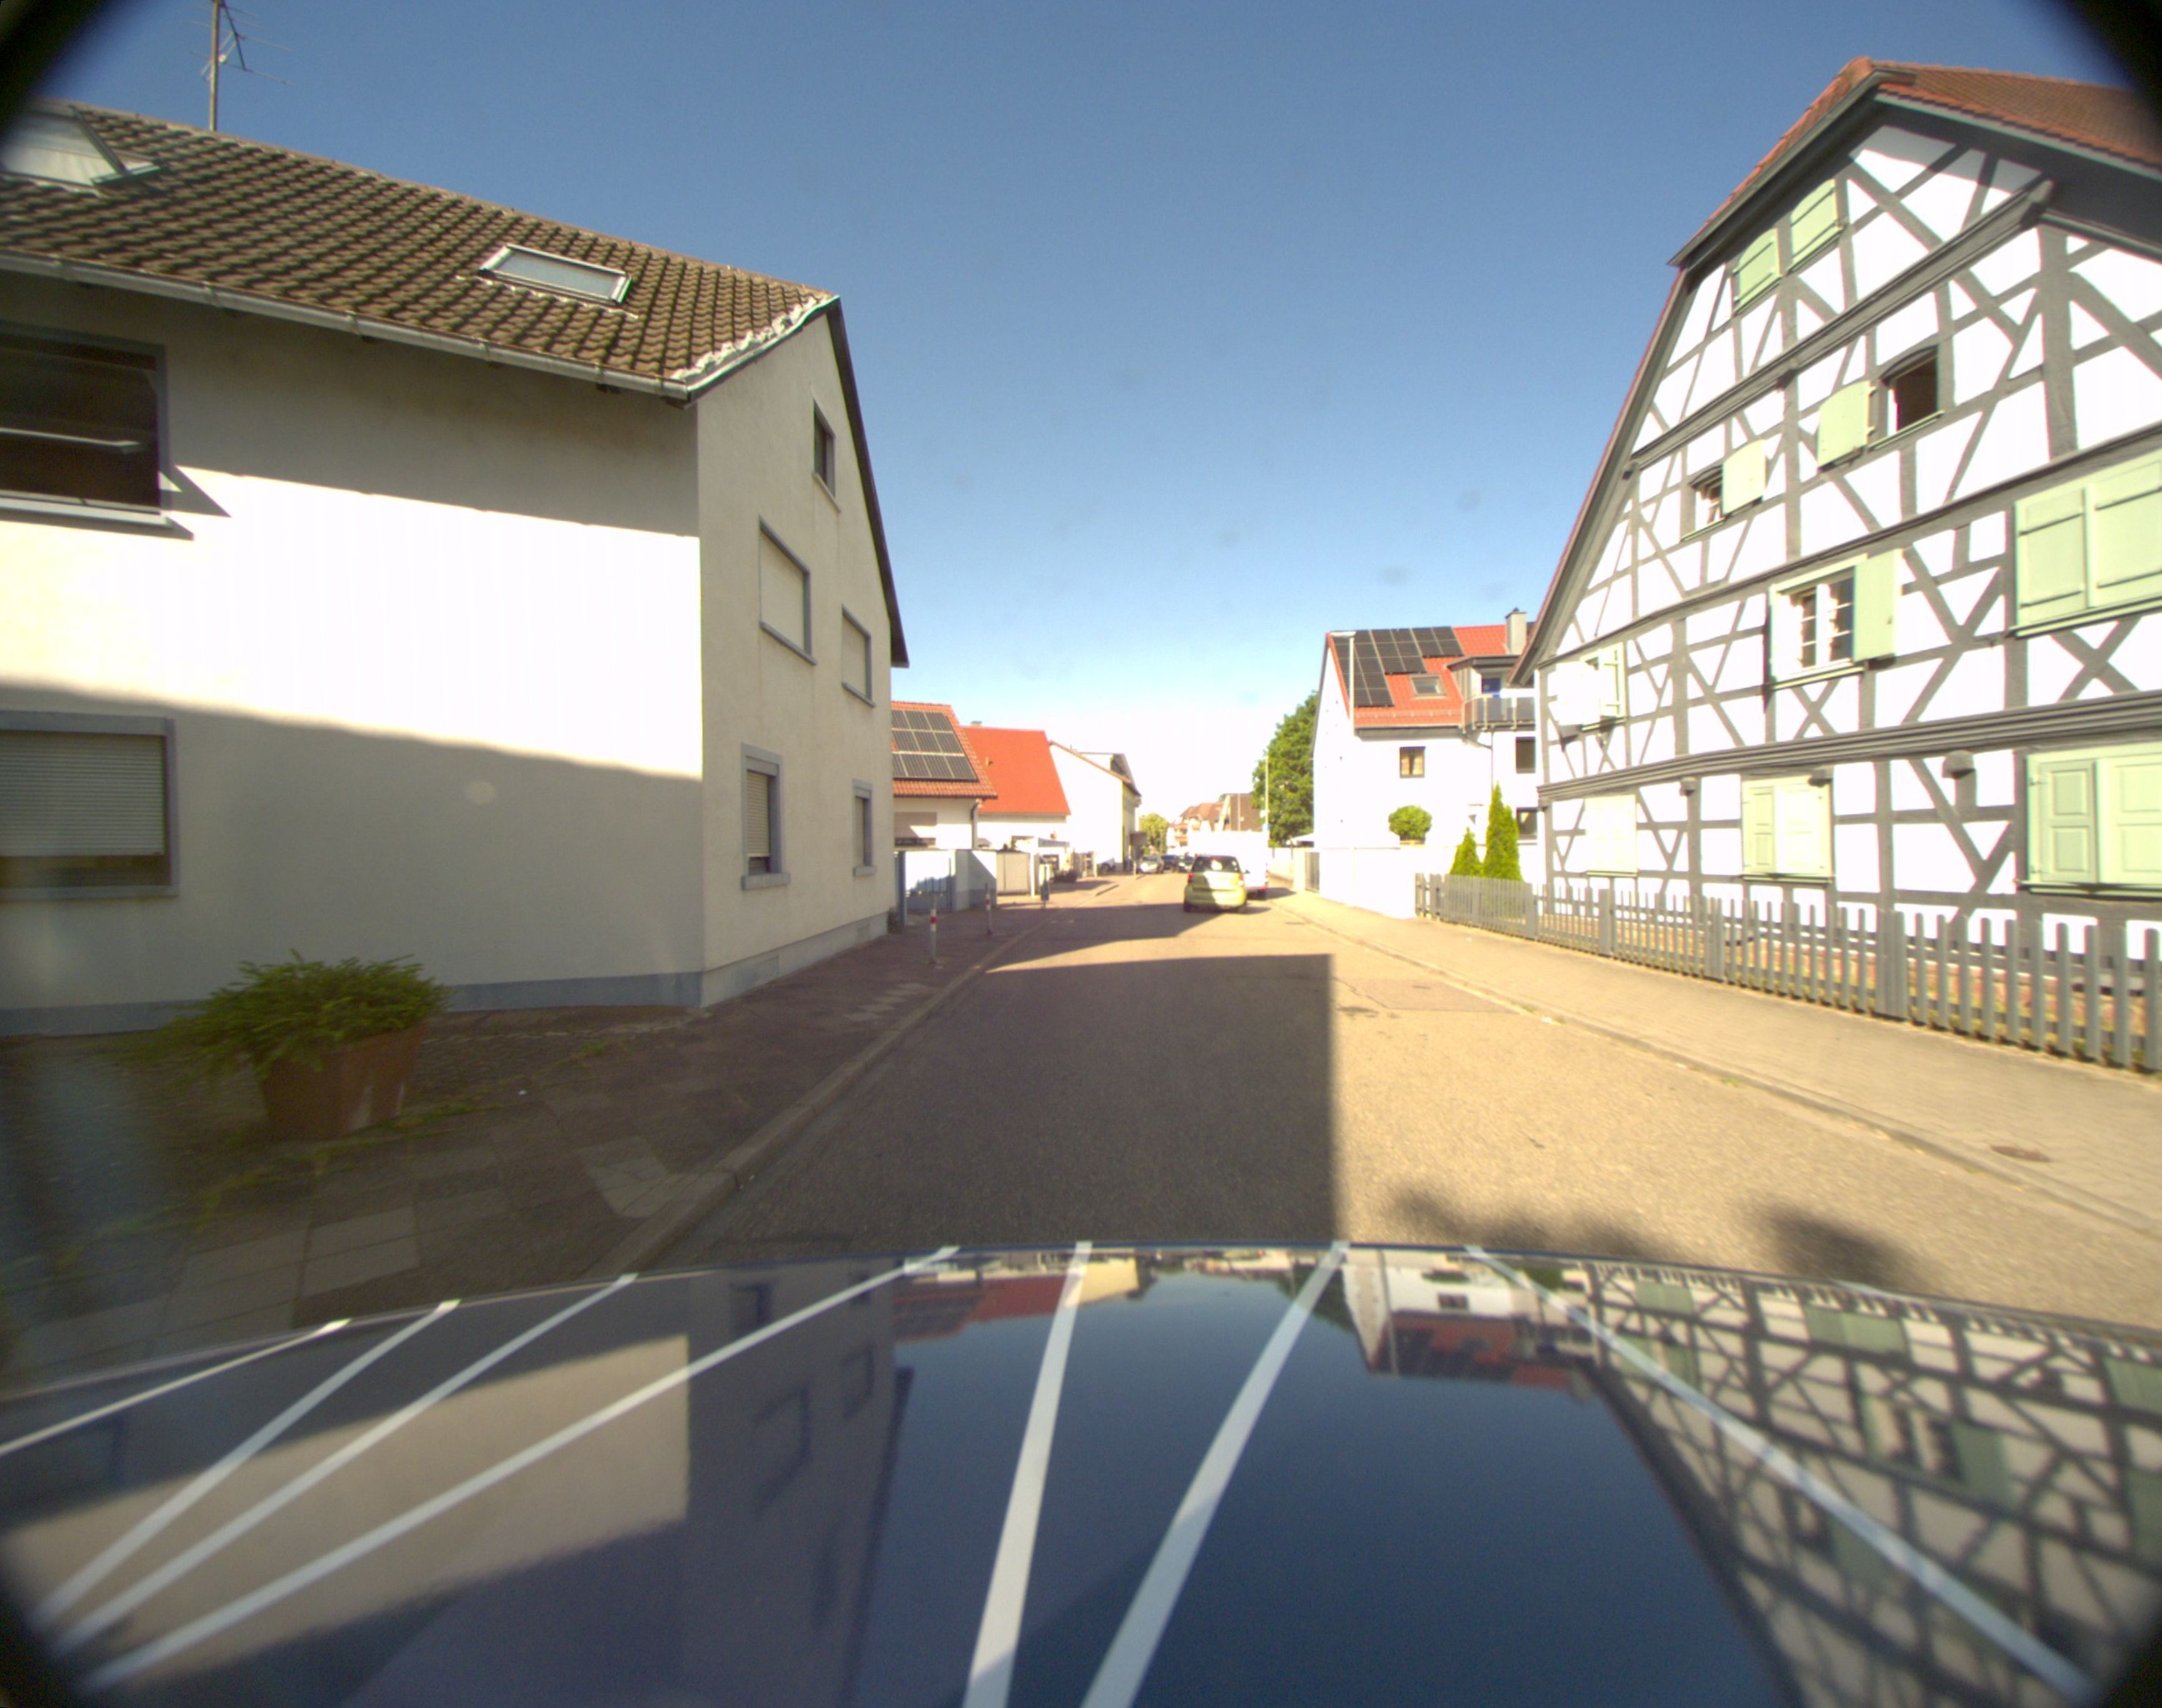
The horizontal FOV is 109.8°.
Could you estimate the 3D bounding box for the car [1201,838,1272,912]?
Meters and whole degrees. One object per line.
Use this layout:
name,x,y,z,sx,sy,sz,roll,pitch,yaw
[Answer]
car,5.553,0.685,27.867,2.201,2.376,6.068,1,0,9

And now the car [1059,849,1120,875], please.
car,0.656,0.619,61.595,4.774,1.875,1.908,3,0,-1

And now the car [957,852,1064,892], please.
car,-2.868,0.686,31.075,3.916,1.483,1.849,1,1,17

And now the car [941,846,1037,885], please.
car,-4.203,0.520,34.577,4.053,1.678,1.908,1,0,-18

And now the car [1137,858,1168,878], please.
car,5.663,1.091,59.339,1.814,1.466,4.664,1,0,13

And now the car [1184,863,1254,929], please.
car,3.743,1.053,20.354,1.576,1.537,2.969,2,0,14

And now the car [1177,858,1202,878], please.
car,8.578,1.107,60.227,1.812,1.466,4.847,-1,0,8

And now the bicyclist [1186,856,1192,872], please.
bicyclist,11.654,1.057,81.992,0.643,1.655,0.605,1,1,5

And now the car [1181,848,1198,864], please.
car,17.520,0.370,122.610,2.257,2.456,5.518,1,0,4
